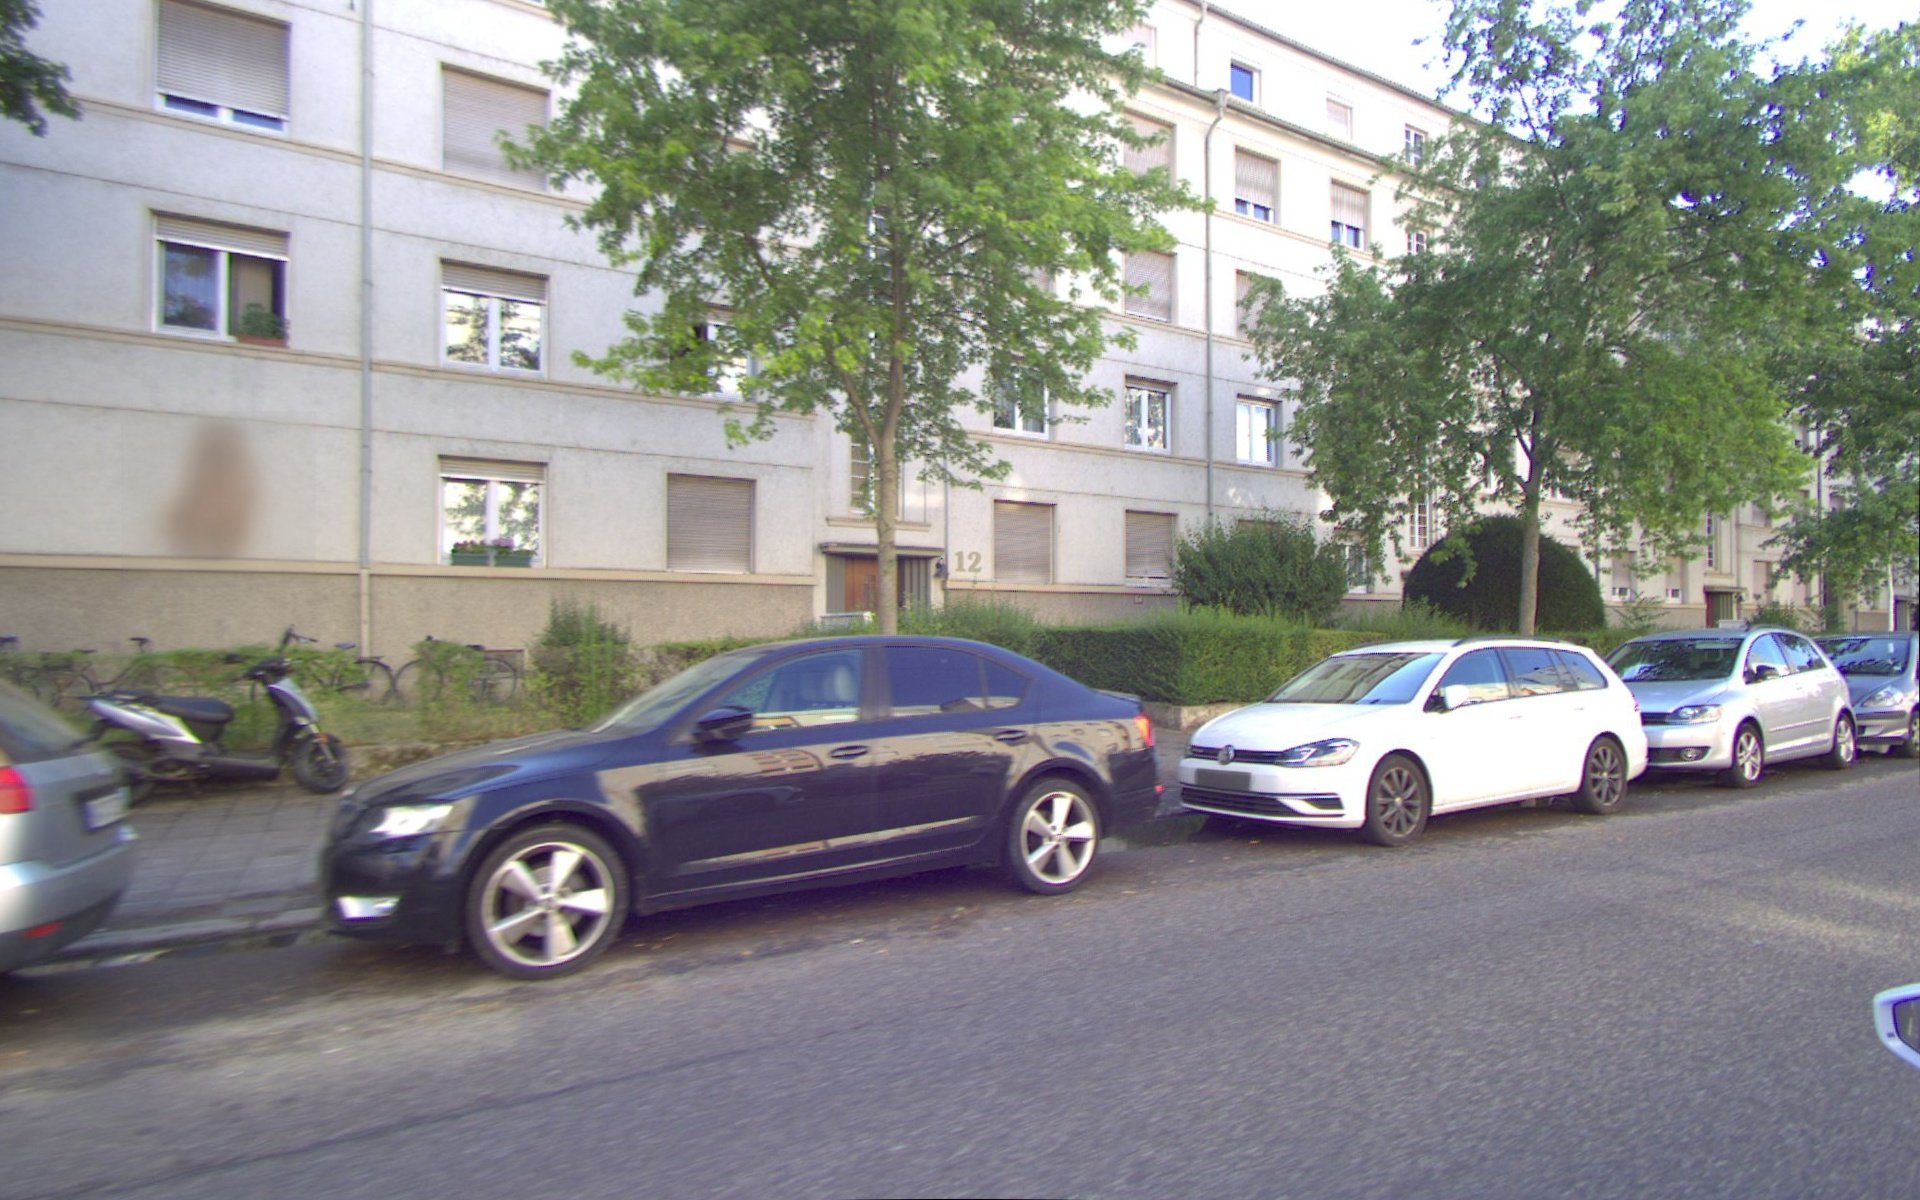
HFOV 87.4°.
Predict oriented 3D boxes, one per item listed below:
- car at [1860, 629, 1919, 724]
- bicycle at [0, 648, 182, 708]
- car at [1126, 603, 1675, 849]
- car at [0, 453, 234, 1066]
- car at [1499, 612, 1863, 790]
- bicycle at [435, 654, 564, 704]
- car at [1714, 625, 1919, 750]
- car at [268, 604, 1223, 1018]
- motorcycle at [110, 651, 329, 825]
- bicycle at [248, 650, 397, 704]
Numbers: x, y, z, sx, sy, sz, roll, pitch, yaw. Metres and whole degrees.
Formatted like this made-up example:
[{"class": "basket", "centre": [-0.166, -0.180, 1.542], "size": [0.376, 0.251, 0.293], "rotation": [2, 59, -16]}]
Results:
[{"class": "car", "centre": [16.279, 1.224, 15.870], "size": [4.602, 1.373, 1.863], "rotation": [2, 0, -32]}, {"class": "bicycle", "centre": [-11.278, 1.005, 13.067], "size": [1.768, 0.718, 0.406], "rotation": [2, 0, -32]}, {"class": "car", "centre": [3.752, 0.895, 8.396], "size": [4.418, 1.572, 1.995], "rotation": [2, -2, -30]}, {"class": "car", "centre": [-5.070, 0.526, 3.412], "size": [3.953, 2.039, 1.985], "rotation": [2, -4, -30]}, {"class": "car", "centre": [7.911, 0.990, 10.956], "size": [3.956, 1.572, 1.863], "rotation": [2, 0, -32]}, {"class": "bicycle", "centre": [-7.110, 1.211, 15.548], "size": [1.768, 0.718, 0.406], "rotation": [2, 0, -32]}, {"class": "car", "centre": [12.102, 1.098, 13.484], "size": [3.956, 1.373, 1.863], "rotation": [2, 0, -32]}, {"class": "car", "centre": [-0.910, 0.892, 5.636], "size": [4.751, 1.452, 1.864], "rotation": [2, -6, -32]}, {"class": "motorcycle", "centre": [-5.828, 1.033, 7.972], "size": [0.565, 1.194, 1.262], "rotation": [2, 0, 24]}, {"class": "bicycle", "centre": [-9.087, 1.089, 14.389], "size": [1.768, 0.718, 0.406], "rotation": [2, 0, -32]}]
